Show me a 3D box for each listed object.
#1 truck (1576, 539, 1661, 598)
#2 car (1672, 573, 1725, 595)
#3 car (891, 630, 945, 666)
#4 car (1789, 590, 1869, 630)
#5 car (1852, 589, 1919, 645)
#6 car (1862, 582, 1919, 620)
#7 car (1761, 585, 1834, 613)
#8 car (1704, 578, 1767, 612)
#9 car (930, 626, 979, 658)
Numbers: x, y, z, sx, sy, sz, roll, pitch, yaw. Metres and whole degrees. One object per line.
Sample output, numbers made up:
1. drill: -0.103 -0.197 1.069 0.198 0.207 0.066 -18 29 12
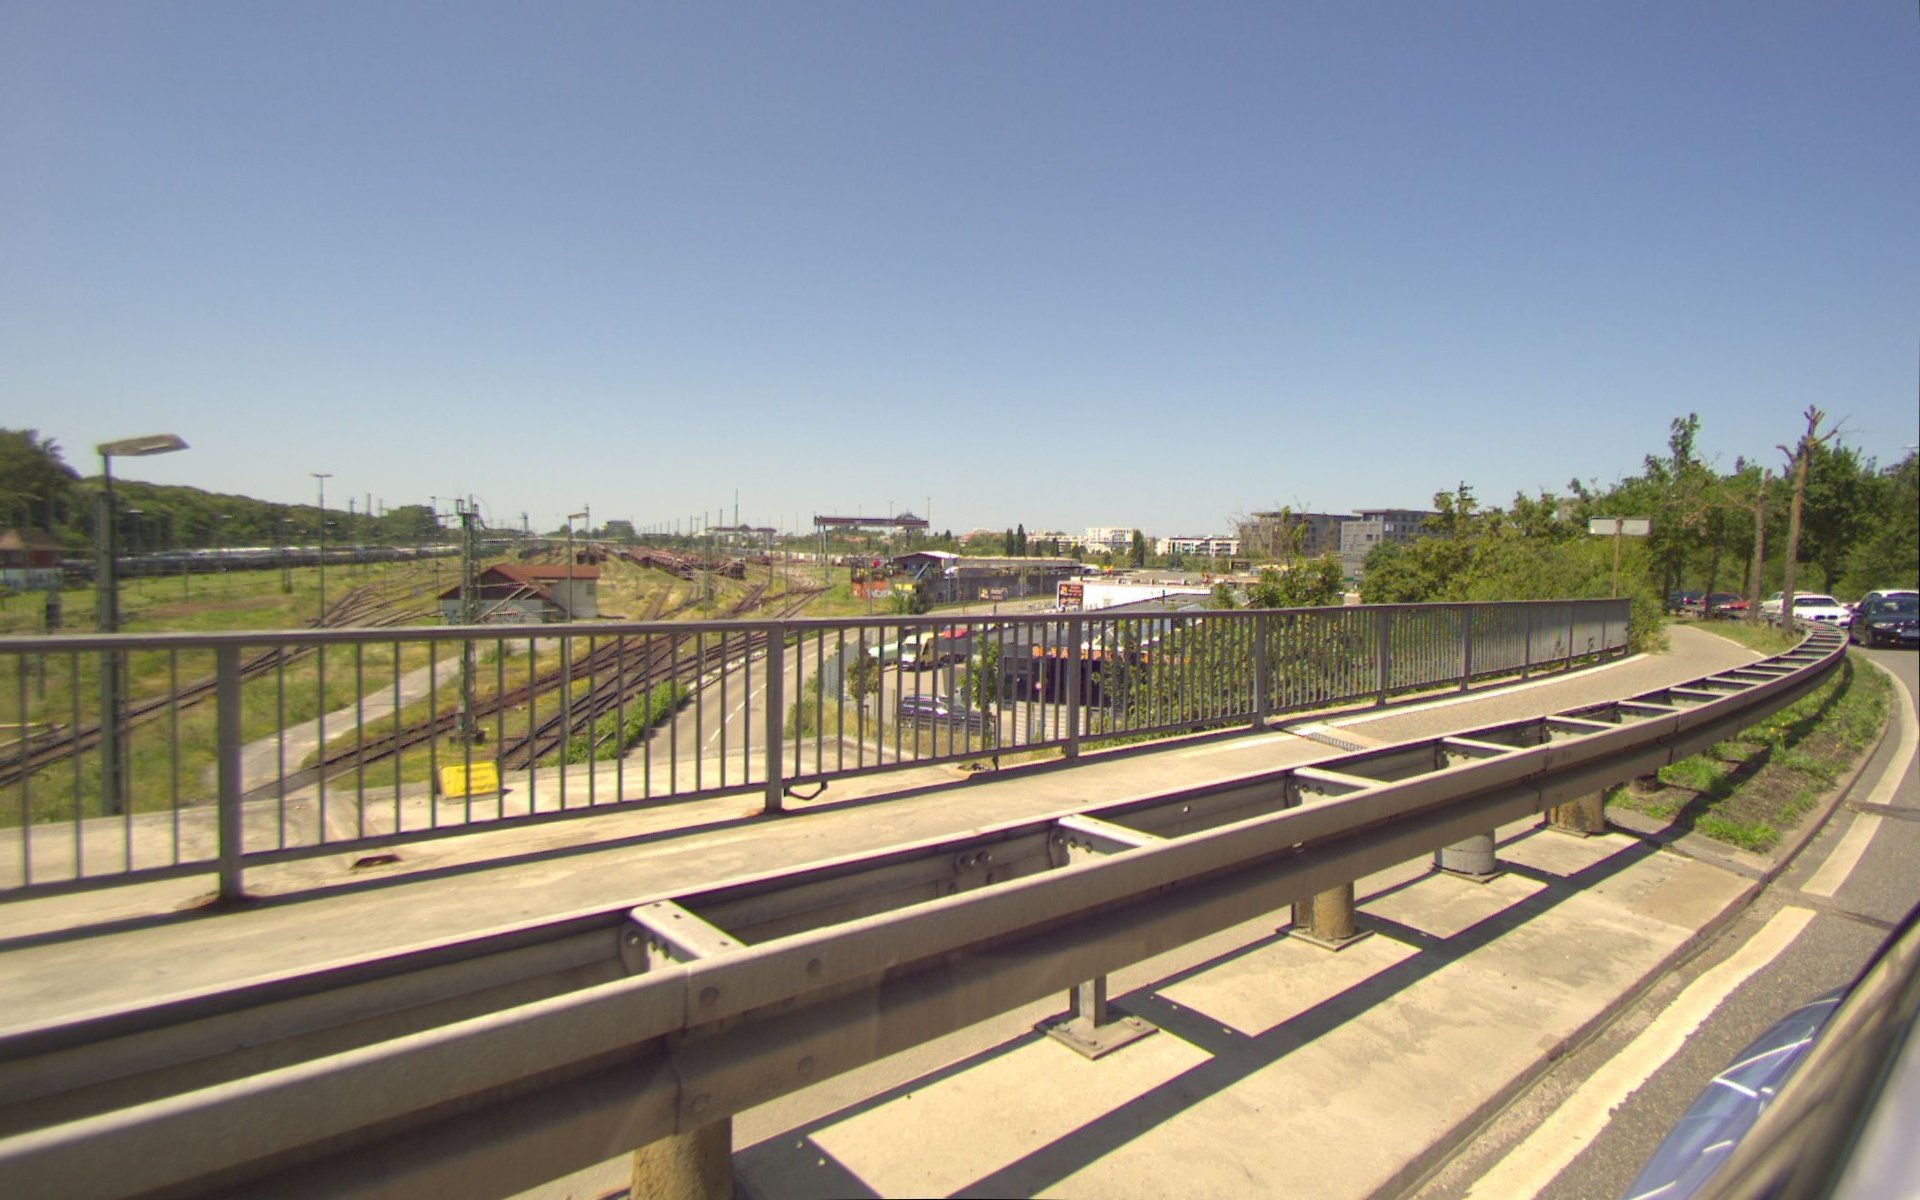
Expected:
1. truck: 51.502 -2.376 79.425 2.817 4.322 8.779 0 1 14
2. car: 51.459 -1.120 70.610 1.830 1.486 4.707 0 1 22
3. car: -3.146 3.624 76.931 2.128 2.382 4.890 -4 -2 23
4. car: 33.008 0.344 38.536 1.805 1.446 3.672 0 1 33
5. car: 25.968 0.418 27.735 1.558 1.434 4.077 0 1 31
6. car: 40.371 0.014 43.303 1.736 1.565 4.347 0 1 30
7. car: 45.675 -0.055 55.320 1.685 1.465 4.429 0 1 21
8. car: 41.796 -0.311 54.627 1.883 1.674 4.221 0 3 26
9. car: -0.411 3.438 83.276 2.128 2.382 4.891 -4 -2 22
